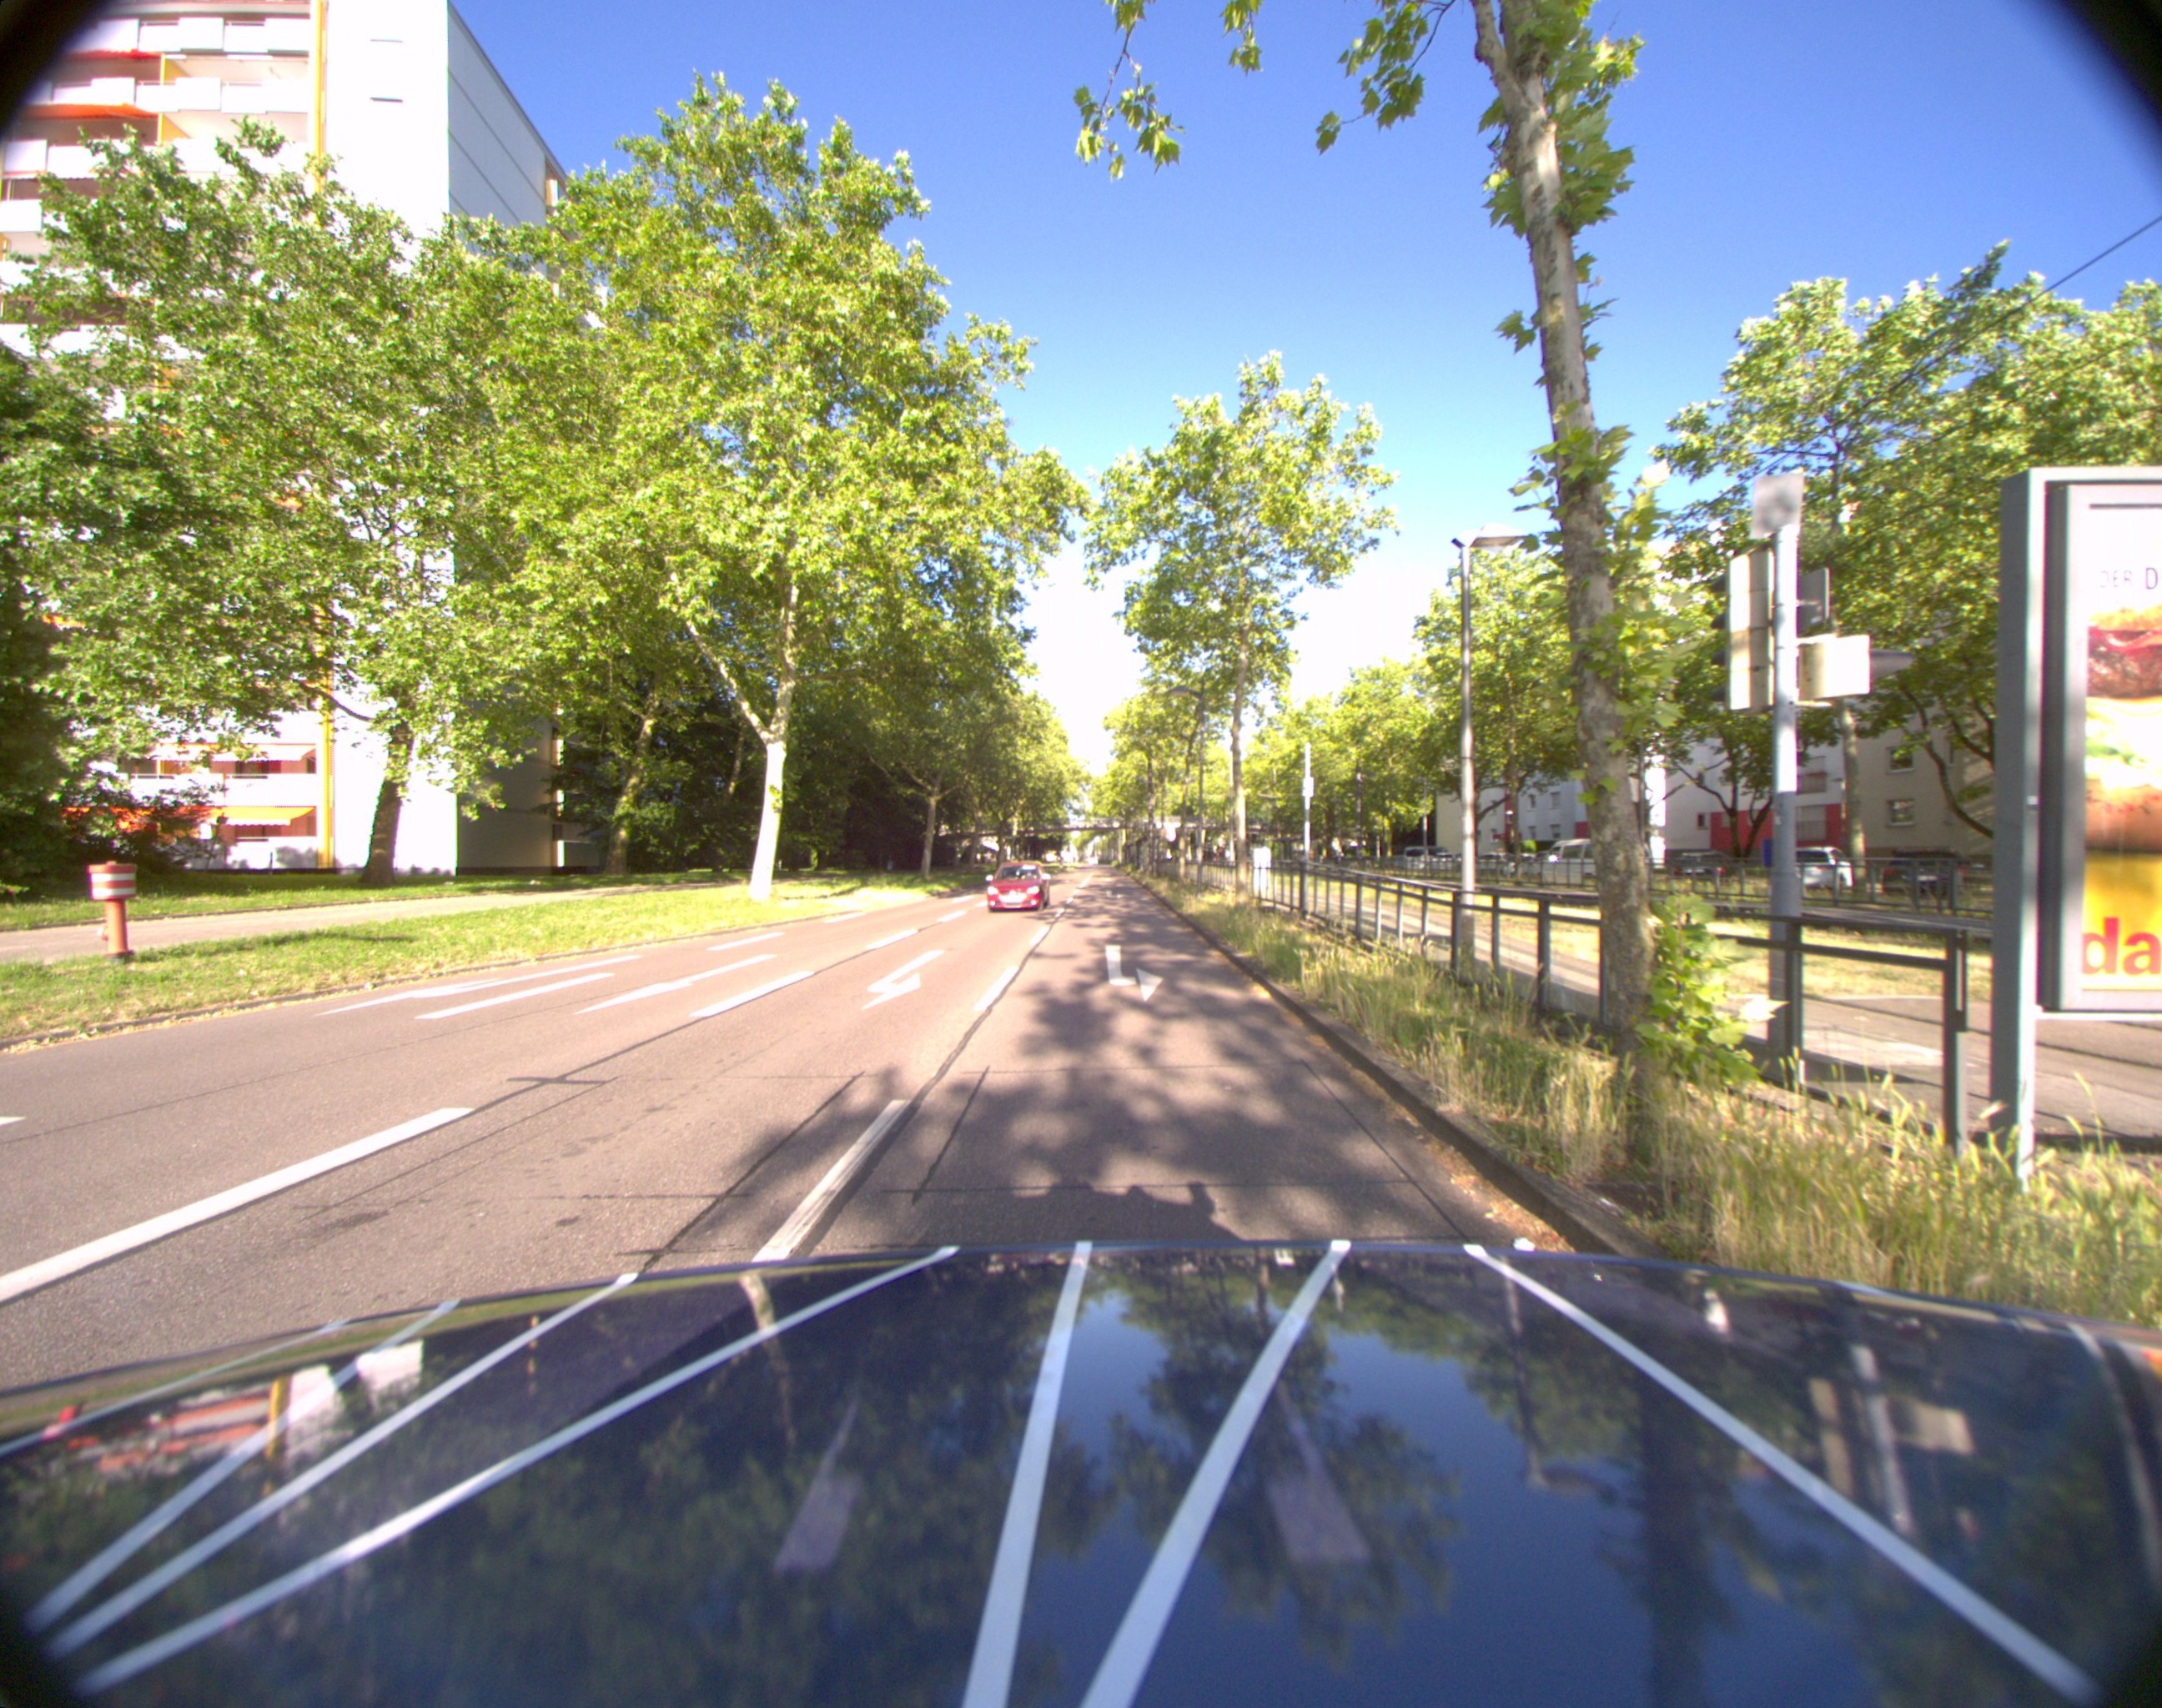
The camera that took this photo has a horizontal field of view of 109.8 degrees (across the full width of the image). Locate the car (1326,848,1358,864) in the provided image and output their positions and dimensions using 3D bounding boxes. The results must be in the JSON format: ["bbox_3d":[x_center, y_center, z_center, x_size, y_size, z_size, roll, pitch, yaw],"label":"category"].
[{"bbox_3d":[27.131,0.220,78.958,3.742,1.517,1.597,-1,1,-43],"label":"car"}]

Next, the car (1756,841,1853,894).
[{"bbox_3d":[25.046,0.419,26.268,4.007,1.586,1.810,-3,1,-37],"label":"car"}]

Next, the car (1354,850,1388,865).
[{"bbox_3d":[26.469,0.322,69.299,3.494,1.312,1.476,-1,0,-41],"label":"car"}]

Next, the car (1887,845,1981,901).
[{"bbox_3d":[25.264,0.523,22.466,3.770,1.420,1.555,-3,1,-37],"label":"car"}]

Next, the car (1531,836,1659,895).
[{"bbox_3d":[19.139,0.393,28.591,1.795,1.980,4.653,-1,0,3],"label":"car"}]

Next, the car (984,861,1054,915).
[{"bbox_3d":[-1.825,0.984,23.465,1.646,1.430,3.761,-2,1,2],"label":"car"}]

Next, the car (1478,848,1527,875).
[{"bbox_3d":[26.199,0.440,47.173,3.493,1.417,1.558,-3,-1,-42],"label":"car"}]

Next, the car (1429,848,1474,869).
[{"bbox_3d":[26.025,0.326,53.315,3.494,1.395,1.623,-1,0,-41],"label":"car"}]

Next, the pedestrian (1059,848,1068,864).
[{"bbox_3d":[-2.349,0.282,102.270,0.918,2.002,0.962,-2,1,8],"label":"pedestrian"}]

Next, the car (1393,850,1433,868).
[{"bbox_3d":[26.042,0.370,59.583,3.494,1.335,1.476,-1,0,-41],"label":"car"}]

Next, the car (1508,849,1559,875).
[{"bbox_3d":[26.262,0.459,44.066,3.493,1.321,1.476,-3,0,-41],"label":"car"}]

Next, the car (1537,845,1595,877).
[{"bbox_3d":[25.858,0.361,40.467,3.402,1.499,1.461,-3,1,-37],"label":"car"}]

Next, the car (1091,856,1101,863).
[{"bbox_3d":[3.184,1.197,162.844,1.798,1.465,3.999,-3,1,-1],"label":"car"}]

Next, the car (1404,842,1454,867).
[{"bbox_3d":[25.908,0.038,56.456,4.056,1.802,1.864,-1,0,-41],"label":"car"}]

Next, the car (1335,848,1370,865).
[{"bbox_3d":[26.061,0.192,72.912,3.835,1.561,1.597,-1,0,-43],"label":"car"}]
